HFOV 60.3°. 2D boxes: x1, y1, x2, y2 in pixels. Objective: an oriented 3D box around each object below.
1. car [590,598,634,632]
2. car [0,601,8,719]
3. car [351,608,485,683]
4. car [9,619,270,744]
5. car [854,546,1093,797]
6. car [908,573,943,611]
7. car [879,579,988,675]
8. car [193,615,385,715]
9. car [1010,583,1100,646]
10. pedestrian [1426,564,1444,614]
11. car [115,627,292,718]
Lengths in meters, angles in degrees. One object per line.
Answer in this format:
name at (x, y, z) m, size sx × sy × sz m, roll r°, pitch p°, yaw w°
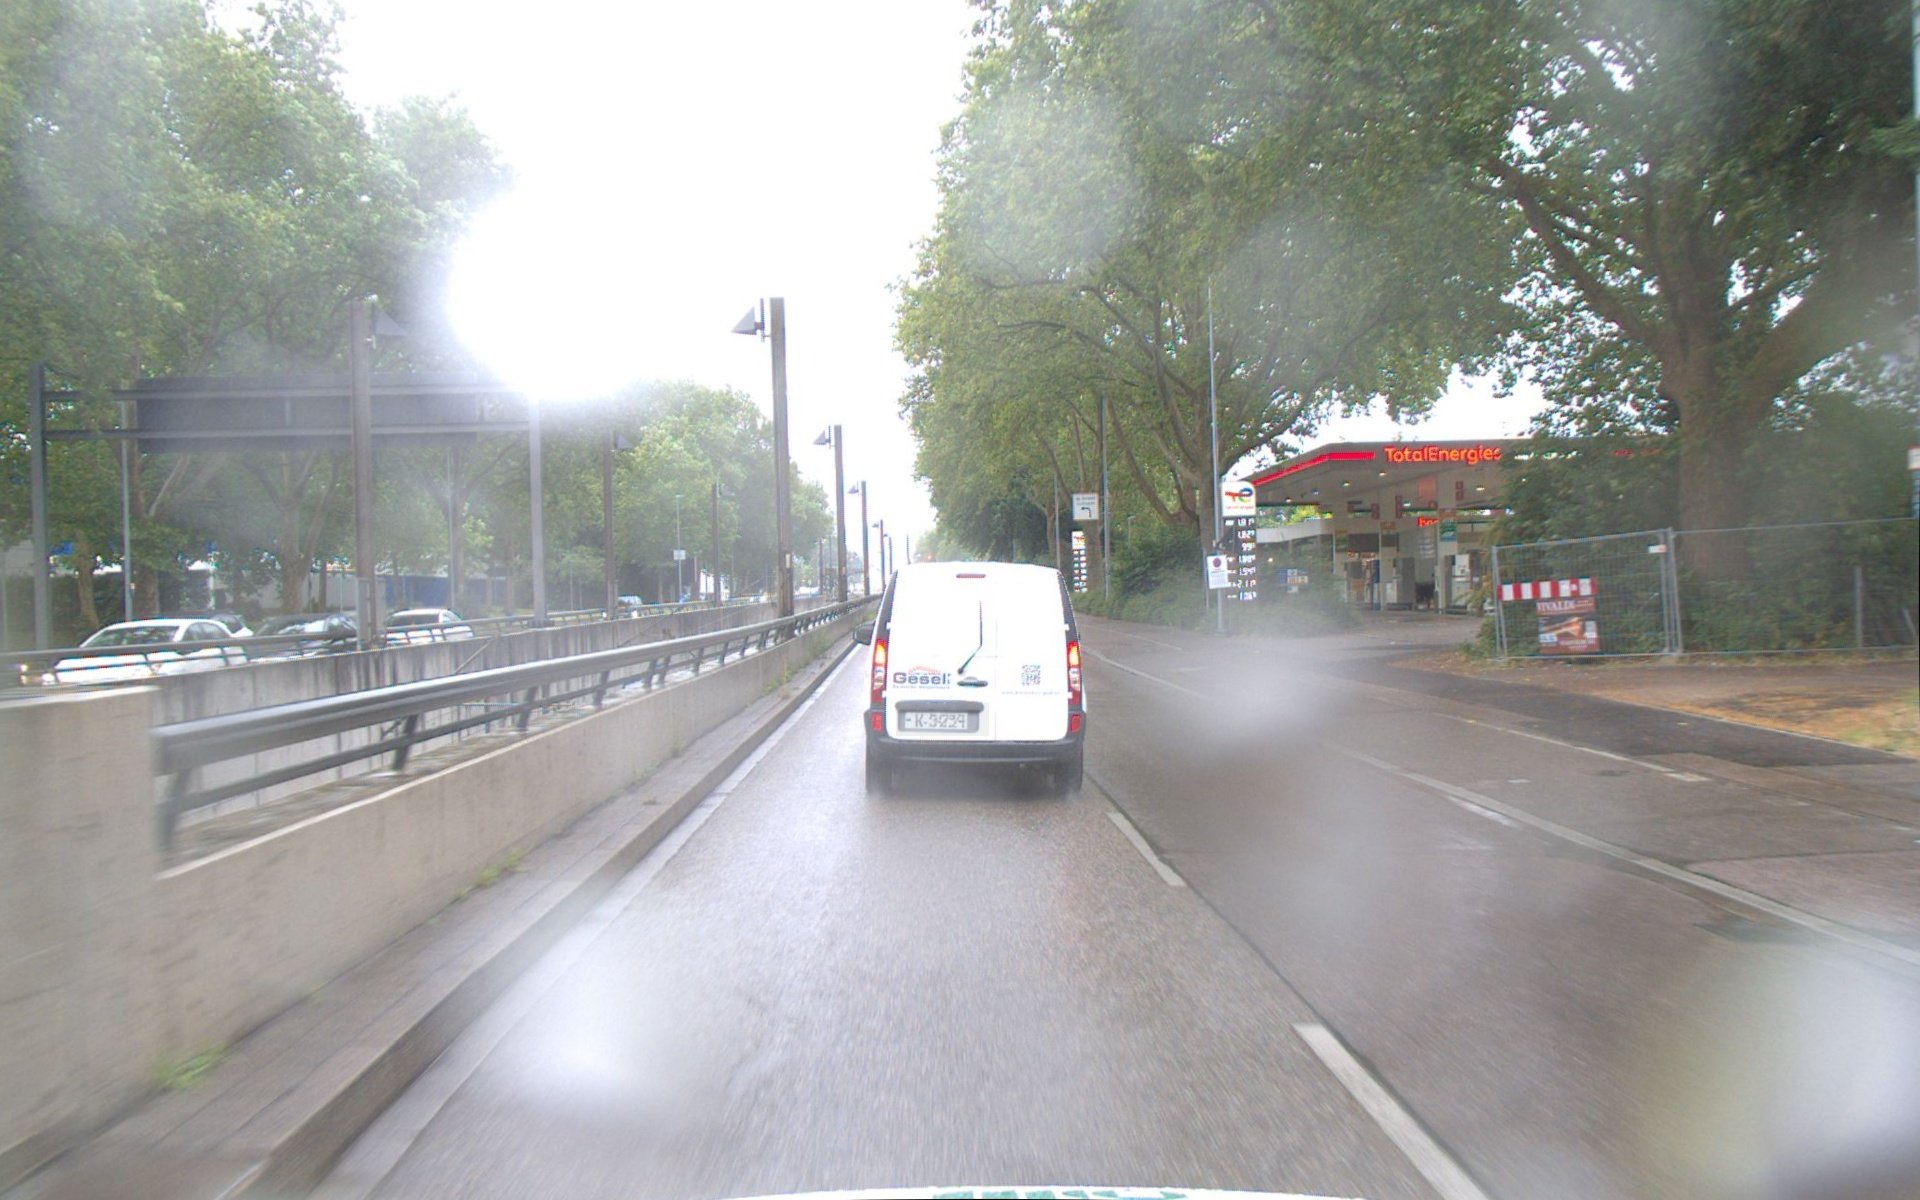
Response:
car at (-17.956, 0.752, 85.508) m, size 1.871 × 1.598 × 3.993 m, roll -2°, pitch 0°, yaw -8°
car at (-18.908, 1.173, 28.778) m, size 1.717 × 2.208 × 4.849 m, roll -2°, pitch 0°, yaw 1°
car at (-13.225, 1.063, 40.659) m, size 1.954 × 1.661 × 4.577 m, roll -2°, pitch 0°, yaw -3°
car at (-12.457, 1.174, 25.432) m, size 1.953 × 1.661 × 4.088 m, roll -2°, pitch 0°, yaw -1°
car at (0.001, 0.529, 14.136) m, size 1.721 × 1.808 × 3.997 m, roll 1°, pitch 0°, yaw -3°
car at (-2.116, -0.479, 101.738) m, size 2.007 × 2.177 × 4.000 m, roll -2°, pitch 0°, yaw 0°
car at (-0.526, 0.484, 31.429) m, size 1.879 × 1.637 × 3.998 m, roll -2°, pitch 0°, yaw -2°
car at (-12.594, 1.165, 31.351) m, size 1.953 × 1.661 × 4.088 m, roll -2°, pitch 0°, yaw -1°
car at (2.598, 0.395, 46.296) m, size 1.954 × 1.612 × 3.996 m, roll -3°, pitch 0°, yaw -4°
pedestrian at (17.140, -0.402, 59.671) m, size 0.542 × 1.755 × 0.726 m, roll -2°, pitch 0°, yaw 17°
car at (-15.655, 1.447, 34.467) m, size 1.810 × 1.661 × 4.088 m, roll -2°, pitch 0°, yaw -1°
